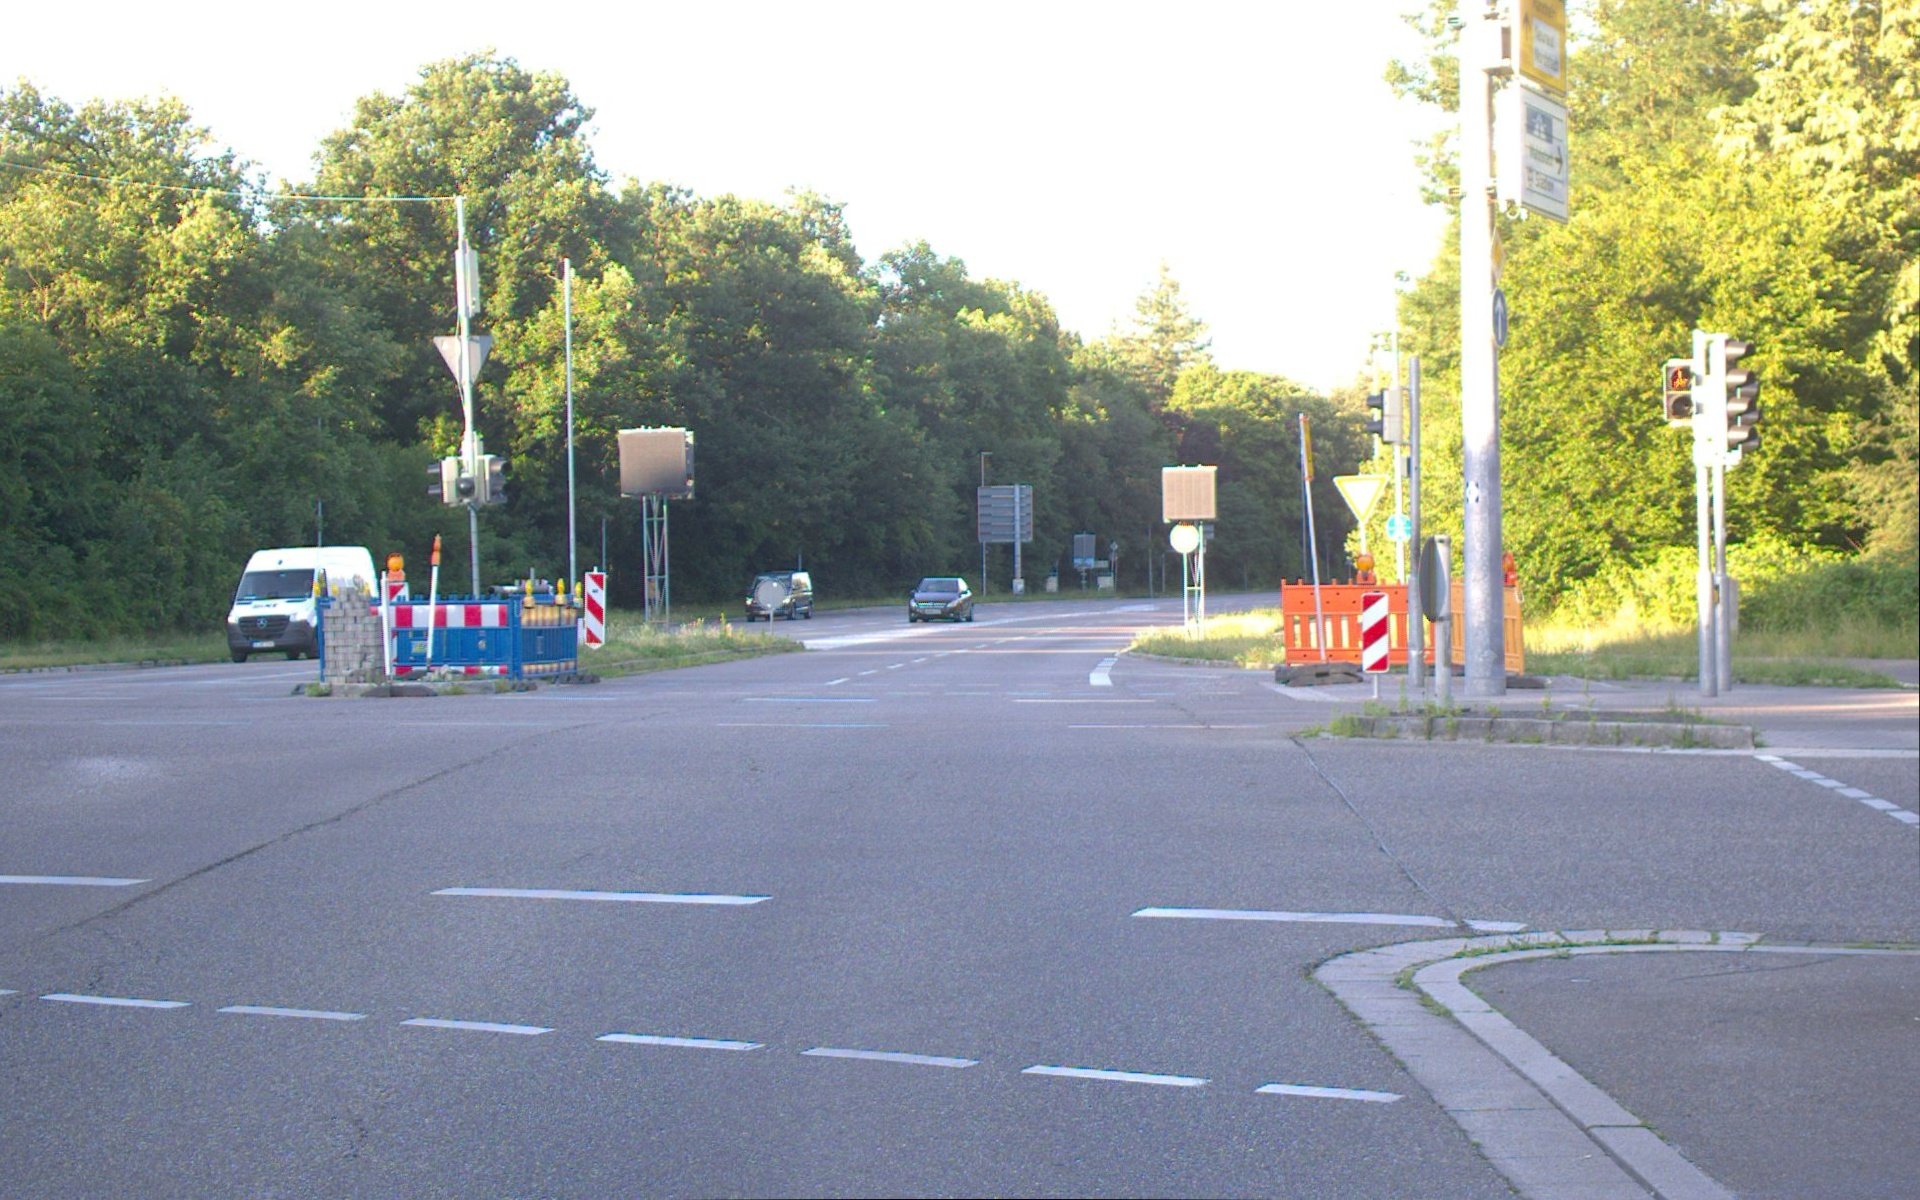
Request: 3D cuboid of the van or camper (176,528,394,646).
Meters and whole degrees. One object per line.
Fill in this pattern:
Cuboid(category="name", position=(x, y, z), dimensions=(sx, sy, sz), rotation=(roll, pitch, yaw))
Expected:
Cuboid(category="van or camper", position=(-15.736, -0.343, 80.708), dimensions=(2.886, 2.643, 7.120), rotation=(0, 1, 7))

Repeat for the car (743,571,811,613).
Cuboid(category="car", position=(-7.242, -0.327, 136.439), dimensions=(1.994, 1.634, 3.999), rotation=(0, 1, 7))

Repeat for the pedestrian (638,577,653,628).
Cuboid(category="pedestrian", position=(-12.680, 0.098, 138.478), dimensions=(0.521, 2.007, 0.600), rotation=(1, 0, -1))

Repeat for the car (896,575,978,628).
Cuboid(category="car", position=(-0.766, 0.038, 118.565), dimensions=(1.994, 1.634, 3.998), rotation=(-2, 2, 12))
